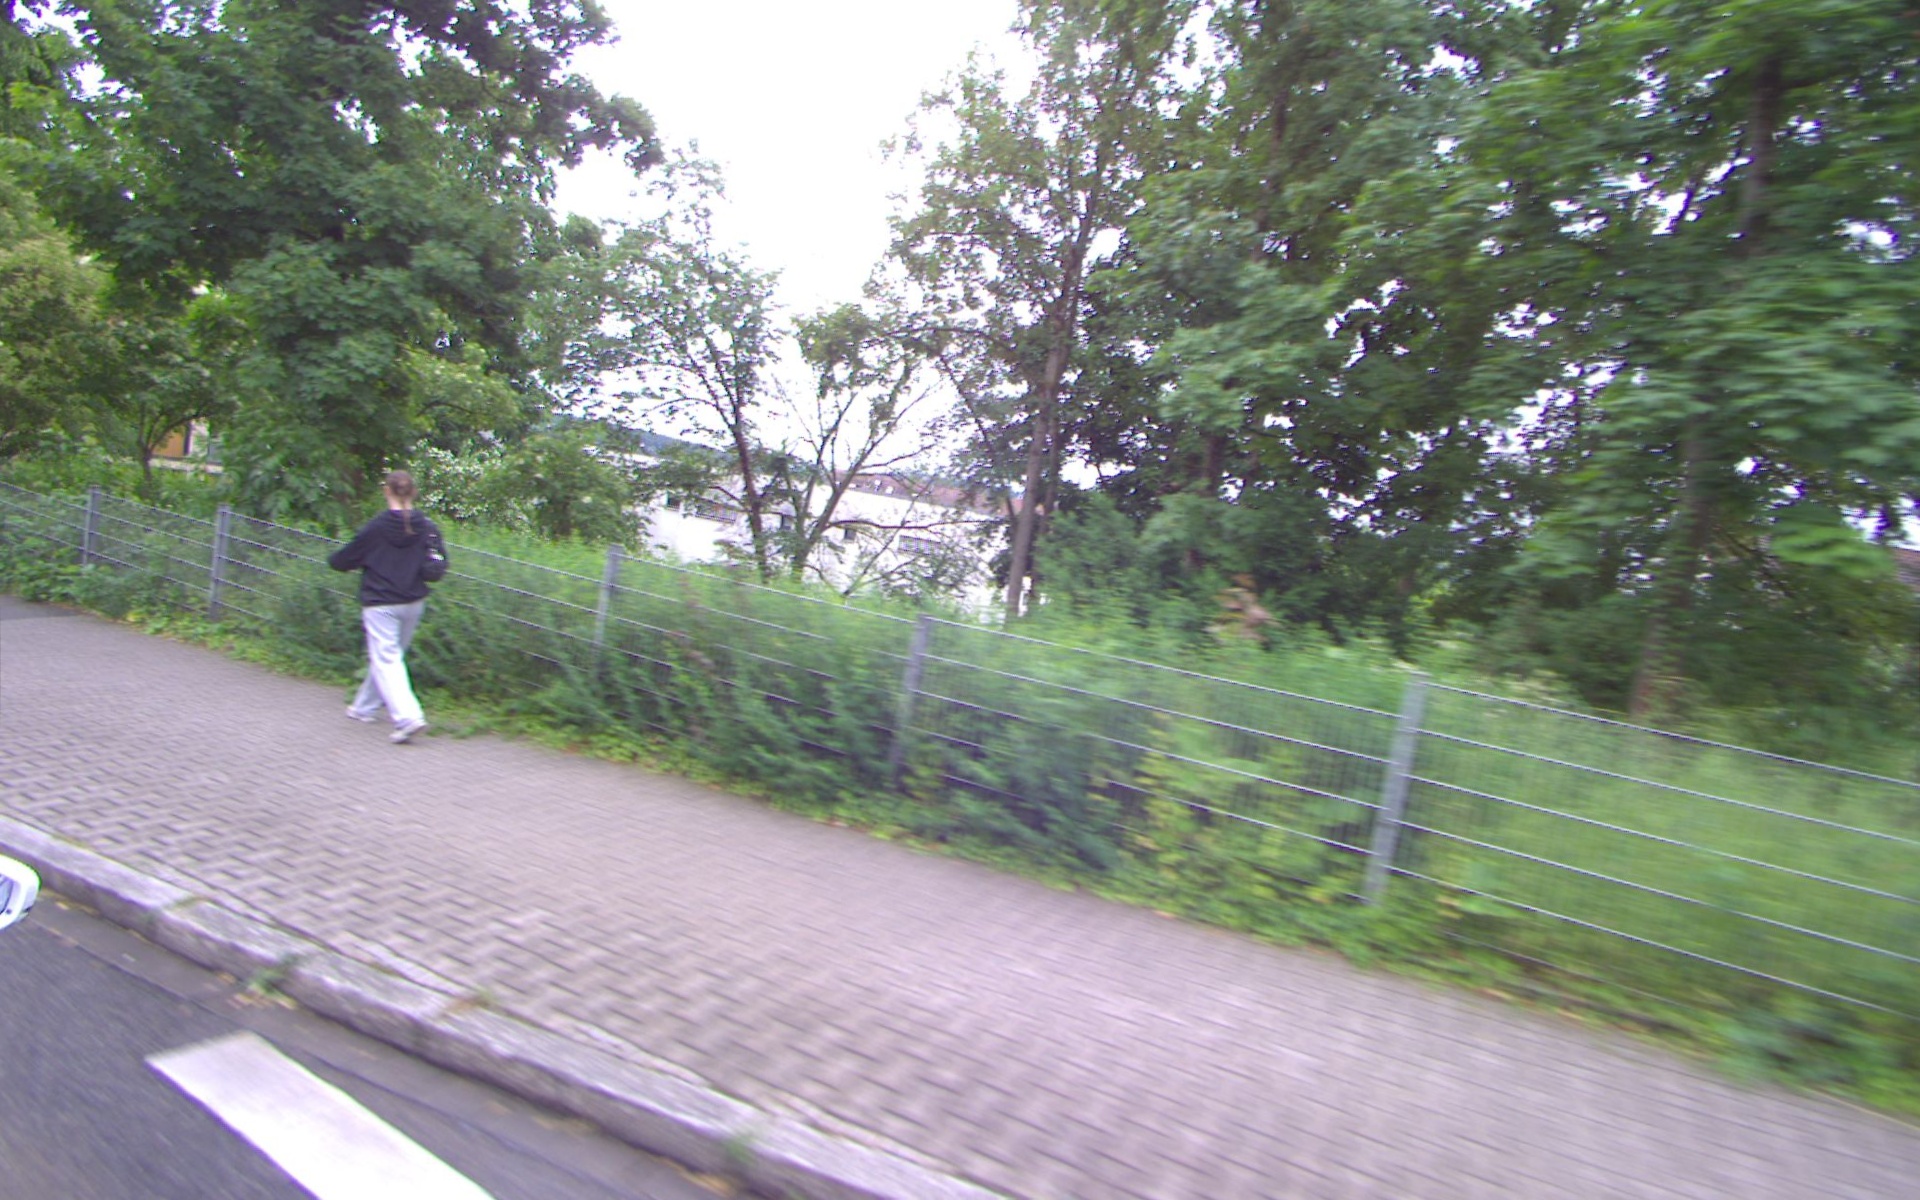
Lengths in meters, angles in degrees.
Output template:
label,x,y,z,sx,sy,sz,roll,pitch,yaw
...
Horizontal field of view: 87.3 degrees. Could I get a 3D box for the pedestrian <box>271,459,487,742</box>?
label,x,y,z,sx,sy,sz,roll,pitch,yaw
pedestrian,-3.723,-0.022,6.455,0.949,1.628,0.765,8,5,28
